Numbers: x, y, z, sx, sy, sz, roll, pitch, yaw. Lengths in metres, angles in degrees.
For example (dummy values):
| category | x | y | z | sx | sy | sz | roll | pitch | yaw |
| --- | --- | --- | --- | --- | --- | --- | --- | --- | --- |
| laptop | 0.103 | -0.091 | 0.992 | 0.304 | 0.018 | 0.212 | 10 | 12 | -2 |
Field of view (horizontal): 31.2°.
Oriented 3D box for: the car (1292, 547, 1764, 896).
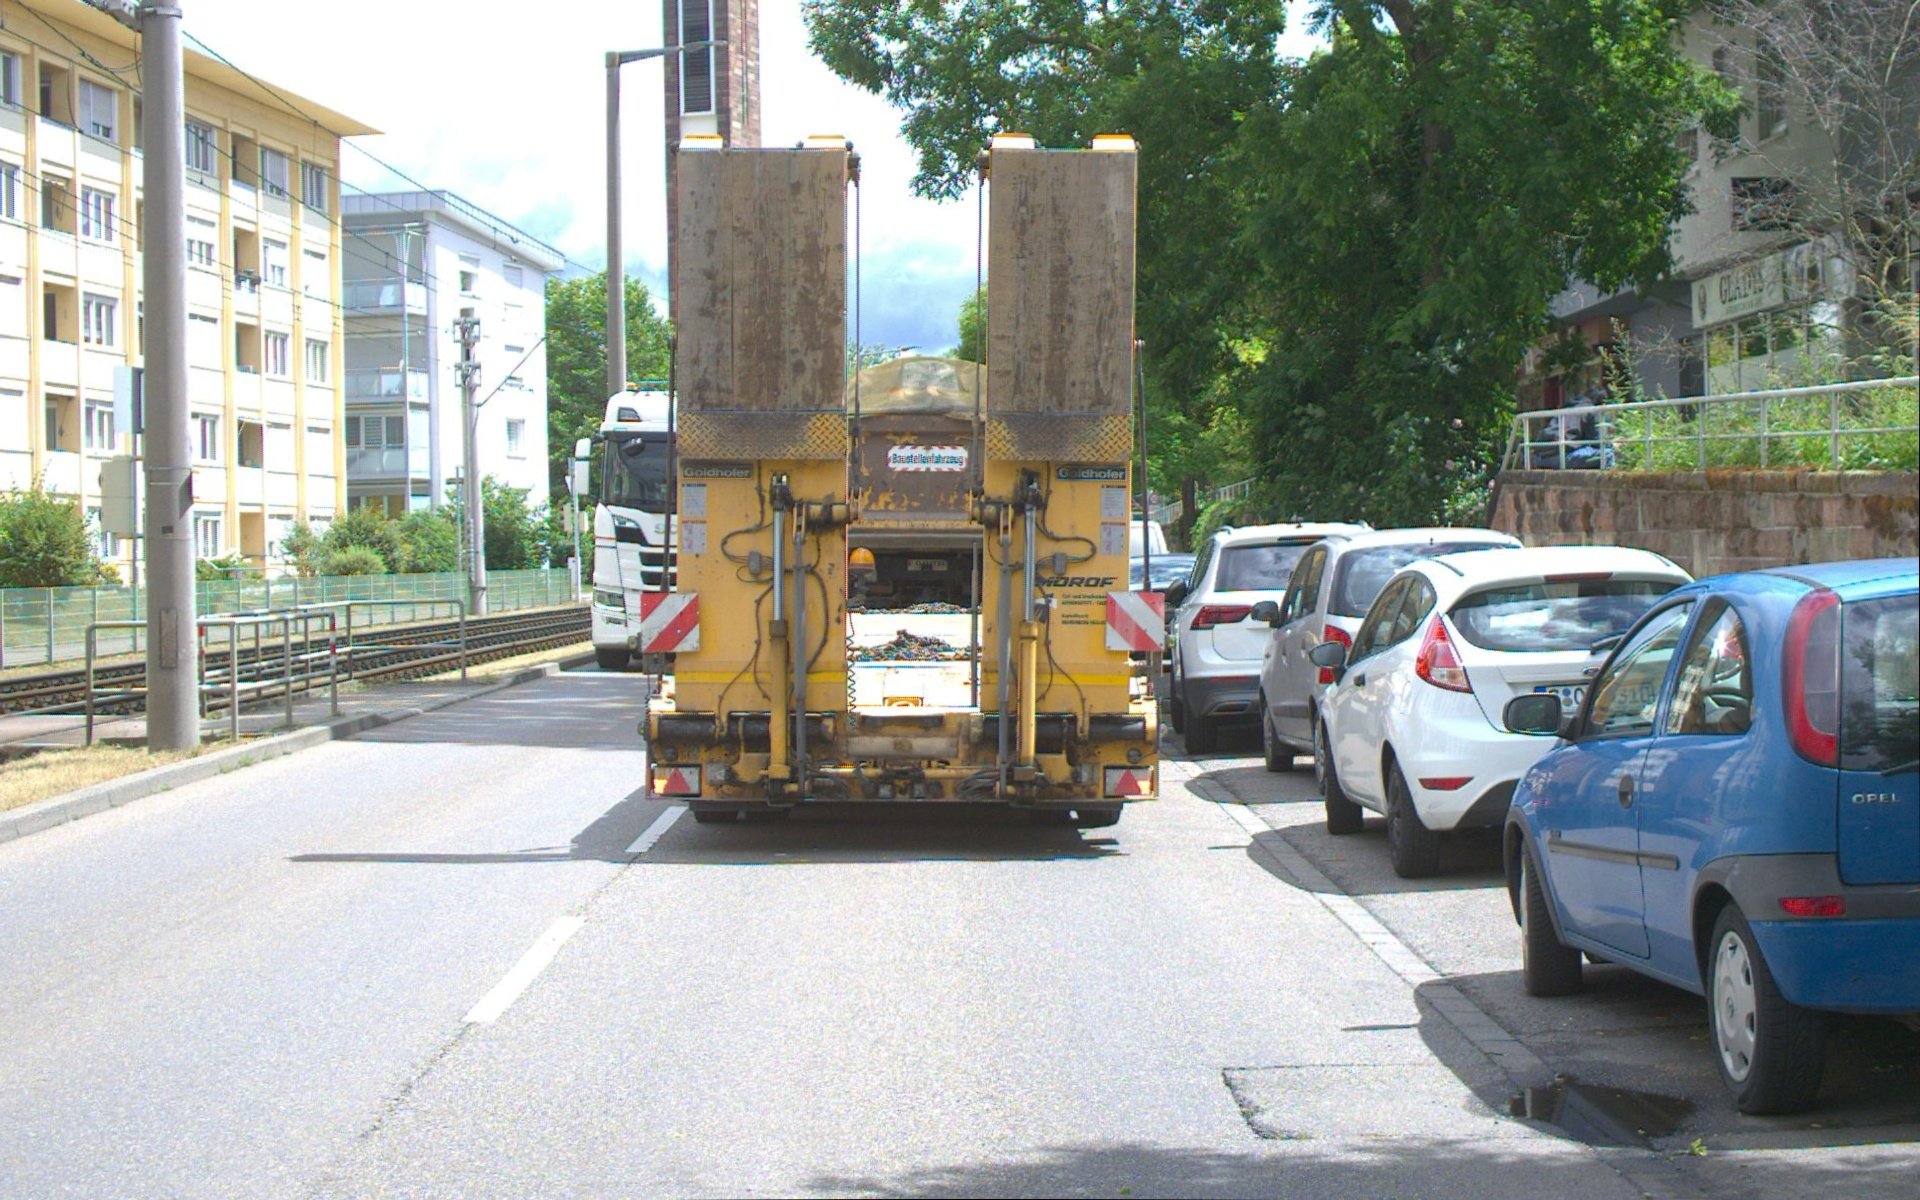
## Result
| category | x | y | z | sx | sy | sz | roll | pitch | yaw |
| --- | --- | --- | --- | --- | --- | --- | --- | --- | --- |
| car | 2.651 | 0.498 | 16.840 | 1.645 | 1.484 | 3.822 | 0 | 1 | 0 |

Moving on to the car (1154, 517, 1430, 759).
| category | x | y | z | sx | sy | sz | roll | pitch | yaw |
| --- | --- | --- | --- | --- | --- | --- | --- | --- | --- |
| car | 2.482 | 0.221 | 26.657 | 1.824 | 1.676 | 4.575 | -1 | 1 | 2 |

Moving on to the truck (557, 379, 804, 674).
| category | x | y | z | sx | sy | sz | roll | pitch | yaw |
| --- | --- | --- | --- | --- | --- | --- | --- | --- | --- |
| truck | -3.554 | -0.961 | 45.098 | 2.698 | 3.568 | 6.145 | 1 | 1 | 0 |

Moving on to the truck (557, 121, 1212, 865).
| category | x | y | z | sx | sy | sz | roll | pitch | yaw |
| --- | --- | --- | --- | --- | --- | --- | --- | --- | --- |
| truck | -0.498 | -0.647 | 22.746 | 3.124 | 3.552 | 12.461 | 0 | 1 | -1 |

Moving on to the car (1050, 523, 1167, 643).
| category | x | y | z | sx | sy | sz | roll | pitch | yaw |
| --- | --- | --- | --- | --- | --- | --- | --- | --- | --- |
| car | 2.550 | -0.339 | 59.871 | 1.799 | 1.961 | 4.590 | -2 | 1 | 0 |

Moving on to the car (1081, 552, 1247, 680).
| category | x | y | z | sx | sy | sz | roll | pitch | yaw |
| --- | --- | --- | --- | --- | --- | --- | --- | --- | --- |
| car | 2.444 | 0.157 | 42.142 | 1.836 | 1.400 | 4.414 | -2 | 1 | 1 |

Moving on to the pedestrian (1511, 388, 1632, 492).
| category | x | y | z | sx | sy | sz | roll | pitch | yaw |
| --- | --- | --- | --- | --- | --- | --- | --- | --- | --- |
| pedestrian | 4.753 | -1.238 | 26.751 | 0.795 | 0.787 | 0.705 | 0 | 1 | -1 |

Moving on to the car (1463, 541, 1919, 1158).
| category | x | y | z | sx | sy | sz | roll | pitch | yaw |
| --- | --- | --- | --- | --- | --- | --- | --- | --- | --- |
| car | 2.679 | 0.581 | 10.294 | 1.607 | 1.451 | 3.676 | -2 | 1 | -3 |

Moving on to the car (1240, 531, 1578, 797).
| category | x | y | z | sx | sy | sz | roll | pitch | yaw |
| --- | --- | --- | --- | --- | --- | --- | --- | --- | --- |
| car | 2.779 | 0.339 | 21.914 | 1.581 | 1.547 | 3.475 | 0 | 1 | -2 |
